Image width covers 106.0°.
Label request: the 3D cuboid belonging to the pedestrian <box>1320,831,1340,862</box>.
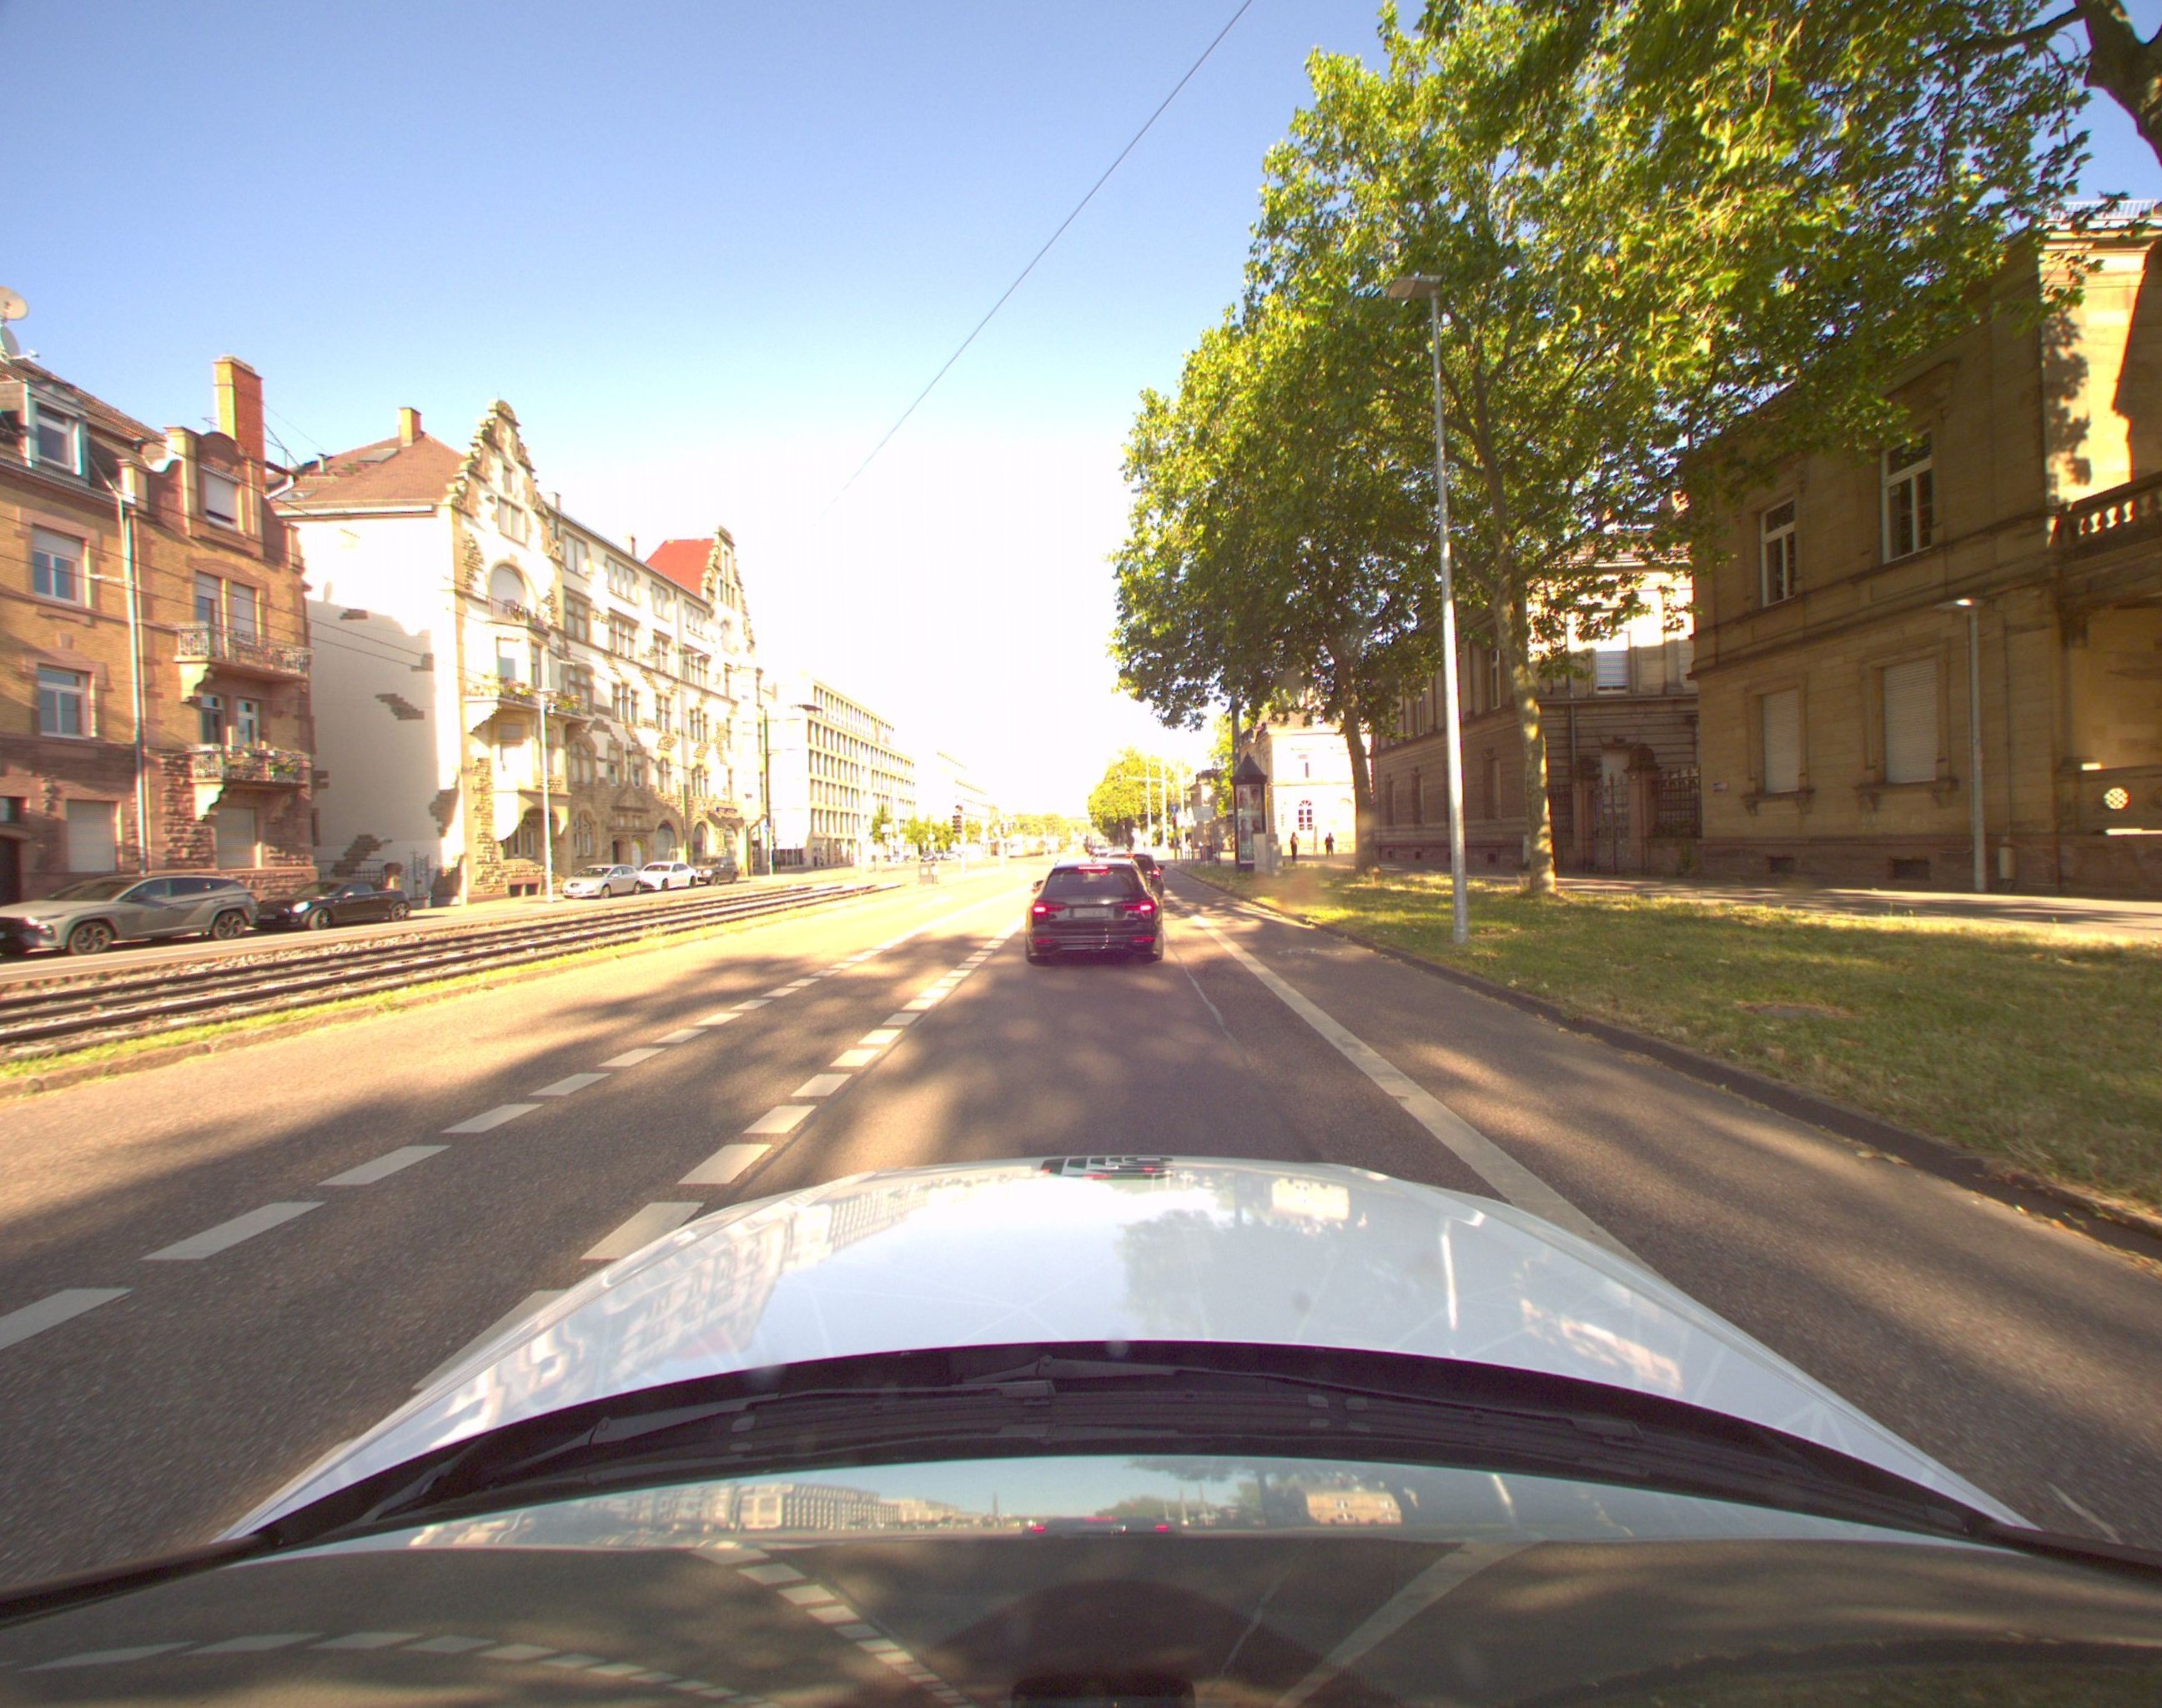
[{"bbox_3d":[13.549,-0.407,44.316,0.766,1.606,0.987,-3,0,3],"label":"pedestrian"}]

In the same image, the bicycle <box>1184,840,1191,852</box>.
[{"bbox_3d":[10.698,-0.837,81.724,0.433,1.145,1.340,-2,1,0],"label":"bicycle"}]

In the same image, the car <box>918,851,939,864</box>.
[{"bbox_3d":[-19.521,0.411,104.147,1.814,1.457,4.165,-3,1,0],"label":"car"}]

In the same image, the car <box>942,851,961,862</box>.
[{"bbox_3d":[-18.851,0.347,118.673,1.812,1.457,4.545,-3,1,4],"label":"car"}]

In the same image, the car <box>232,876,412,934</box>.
[{"bbox_3d":[-21.607,1.402,23.408,1.617,1.354,3.727,1,1,1],"label":"car"}]

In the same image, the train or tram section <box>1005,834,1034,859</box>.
[{"bbox_3d":[-9.305,-1.135,124.776,2.802,3.489,13.210,-2,1,2],"label":"train or tram section"}]

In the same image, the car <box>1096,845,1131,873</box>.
[{"bbox_3d":[1.876,0.263,47.219,1.895,1.486,4.147,-1,0,2],"label":"car"}]

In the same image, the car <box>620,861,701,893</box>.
[{"bbox_3d":[-21.415,1.151,41.658,1.711,1.423,4.656,0,1,0],"label":"car"}]

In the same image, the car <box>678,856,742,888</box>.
[{"bbox_3d":[-21.331,0.982,47.001,1.711,1.675,4.217,0,1,0],"label":"car"}]

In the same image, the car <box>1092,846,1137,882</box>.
[{"bbox_3d":[1.522,0.404,36.888,1.895,1.486,4.147,-1,0,2],"label":"car"}]

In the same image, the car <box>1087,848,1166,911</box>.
[{"bbox_3d":[1.182,0.606,21.841,1.895,1.486,4.147,-1,0,2],"label":"car"}]

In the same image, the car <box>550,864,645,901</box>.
[{"bbox_3d":[-21.312,1.197,36.126,1.704,1.430,4.222,0,1,-1],"label":"car"}]

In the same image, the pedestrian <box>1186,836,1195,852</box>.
[{"bbox_3d":[13.759,-1.267,102.496,0.975,1.865,0.827,-2,1,0],"label":"pedestrian"}]

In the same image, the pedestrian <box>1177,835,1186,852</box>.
[{"bbox_3d":[10.067,-1.036,81.709,0.680,1.660,0.758,-2,1,0],"label":"pedestrian"}]

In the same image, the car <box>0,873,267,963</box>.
[{"bbox_3d":[-21.798,1.332,18.586,1.849,1.622,4.504,1,1,1],"label":"car"}]

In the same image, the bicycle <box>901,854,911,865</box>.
[{"bbox_3d":[-22.825,0.662,106.264,0.682,1.381,1.948,-3,0,3],"label":"bicycle"}]

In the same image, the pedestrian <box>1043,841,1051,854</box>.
[{"bbox_3d":[-4.328,-0.830,104.388,0.744,1.741,0.657,-3,1,-31],"label":"pedestrian"}]

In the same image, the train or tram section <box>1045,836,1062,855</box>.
[{"bbox_3d":[-5.231,-1.650,155.649,2.600,3.450,11.131,-2,1,0],"label":"train or tram section"}]

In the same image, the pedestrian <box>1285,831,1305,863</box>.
[{"bbox_3d":[11.690,-0.383,44.543,0.766,1.709,1.043,-3,0,3],"label":"pedestrian"}]

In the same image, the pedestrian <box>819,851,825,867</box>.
[{"bbox_3d":[-31.368,0.584,98.654,0.535,1.843,0.438,-3,0,-36],"label":"pedestrian"}]

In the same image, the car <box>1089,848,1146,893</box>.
[{"bbox_3d":[1.296,0.537,29.204,1.895,1.486,4.147,-1,0,2],"label":"car"}]

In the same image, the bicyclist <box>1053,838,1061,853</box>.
[{"bbox_3d":[-3.048,-1.037,103.284,0.763,1.818,0.756,-3,1,-38],"label":"bicyclist"}]

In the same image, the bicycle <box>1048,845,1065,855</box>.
[{"bbox_3d":[-3.073,-0.515,103.262,2.022,1.108,0.756,-3,1,-38],"label":"bicycle"}]

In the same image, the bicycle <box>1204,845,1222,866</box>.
[{"bbox_3d":[7.037,0.068,43.485,0.538,1.061,1.770,-2,1,-2],"label":"bicycle"}]

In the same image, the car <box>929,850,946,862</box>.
[{"bbox_3d":[-22.828,0.352,129.763,1.835,1.812,4.114,-2,1,1],"label":"car"}]

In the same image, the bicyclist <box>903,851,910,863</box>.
[{"bbox_3d":[-22.768,0.423,106.243,0.682,1.562,0.786,-3,0,3],"label":"bicyclist"}]

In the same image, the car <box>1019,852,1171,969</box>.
[{"bbox_3d":[0.261,0.711,12.385,1.895,1.421,4.147,-1,0,2],"label":"car"}]

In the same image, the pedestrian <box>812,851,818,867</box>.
[{"bbox_3d":[-32.138,0.598,98.517,0.475,1.843,0.438,-3,0,-36],"label":"pedestrian"}]
